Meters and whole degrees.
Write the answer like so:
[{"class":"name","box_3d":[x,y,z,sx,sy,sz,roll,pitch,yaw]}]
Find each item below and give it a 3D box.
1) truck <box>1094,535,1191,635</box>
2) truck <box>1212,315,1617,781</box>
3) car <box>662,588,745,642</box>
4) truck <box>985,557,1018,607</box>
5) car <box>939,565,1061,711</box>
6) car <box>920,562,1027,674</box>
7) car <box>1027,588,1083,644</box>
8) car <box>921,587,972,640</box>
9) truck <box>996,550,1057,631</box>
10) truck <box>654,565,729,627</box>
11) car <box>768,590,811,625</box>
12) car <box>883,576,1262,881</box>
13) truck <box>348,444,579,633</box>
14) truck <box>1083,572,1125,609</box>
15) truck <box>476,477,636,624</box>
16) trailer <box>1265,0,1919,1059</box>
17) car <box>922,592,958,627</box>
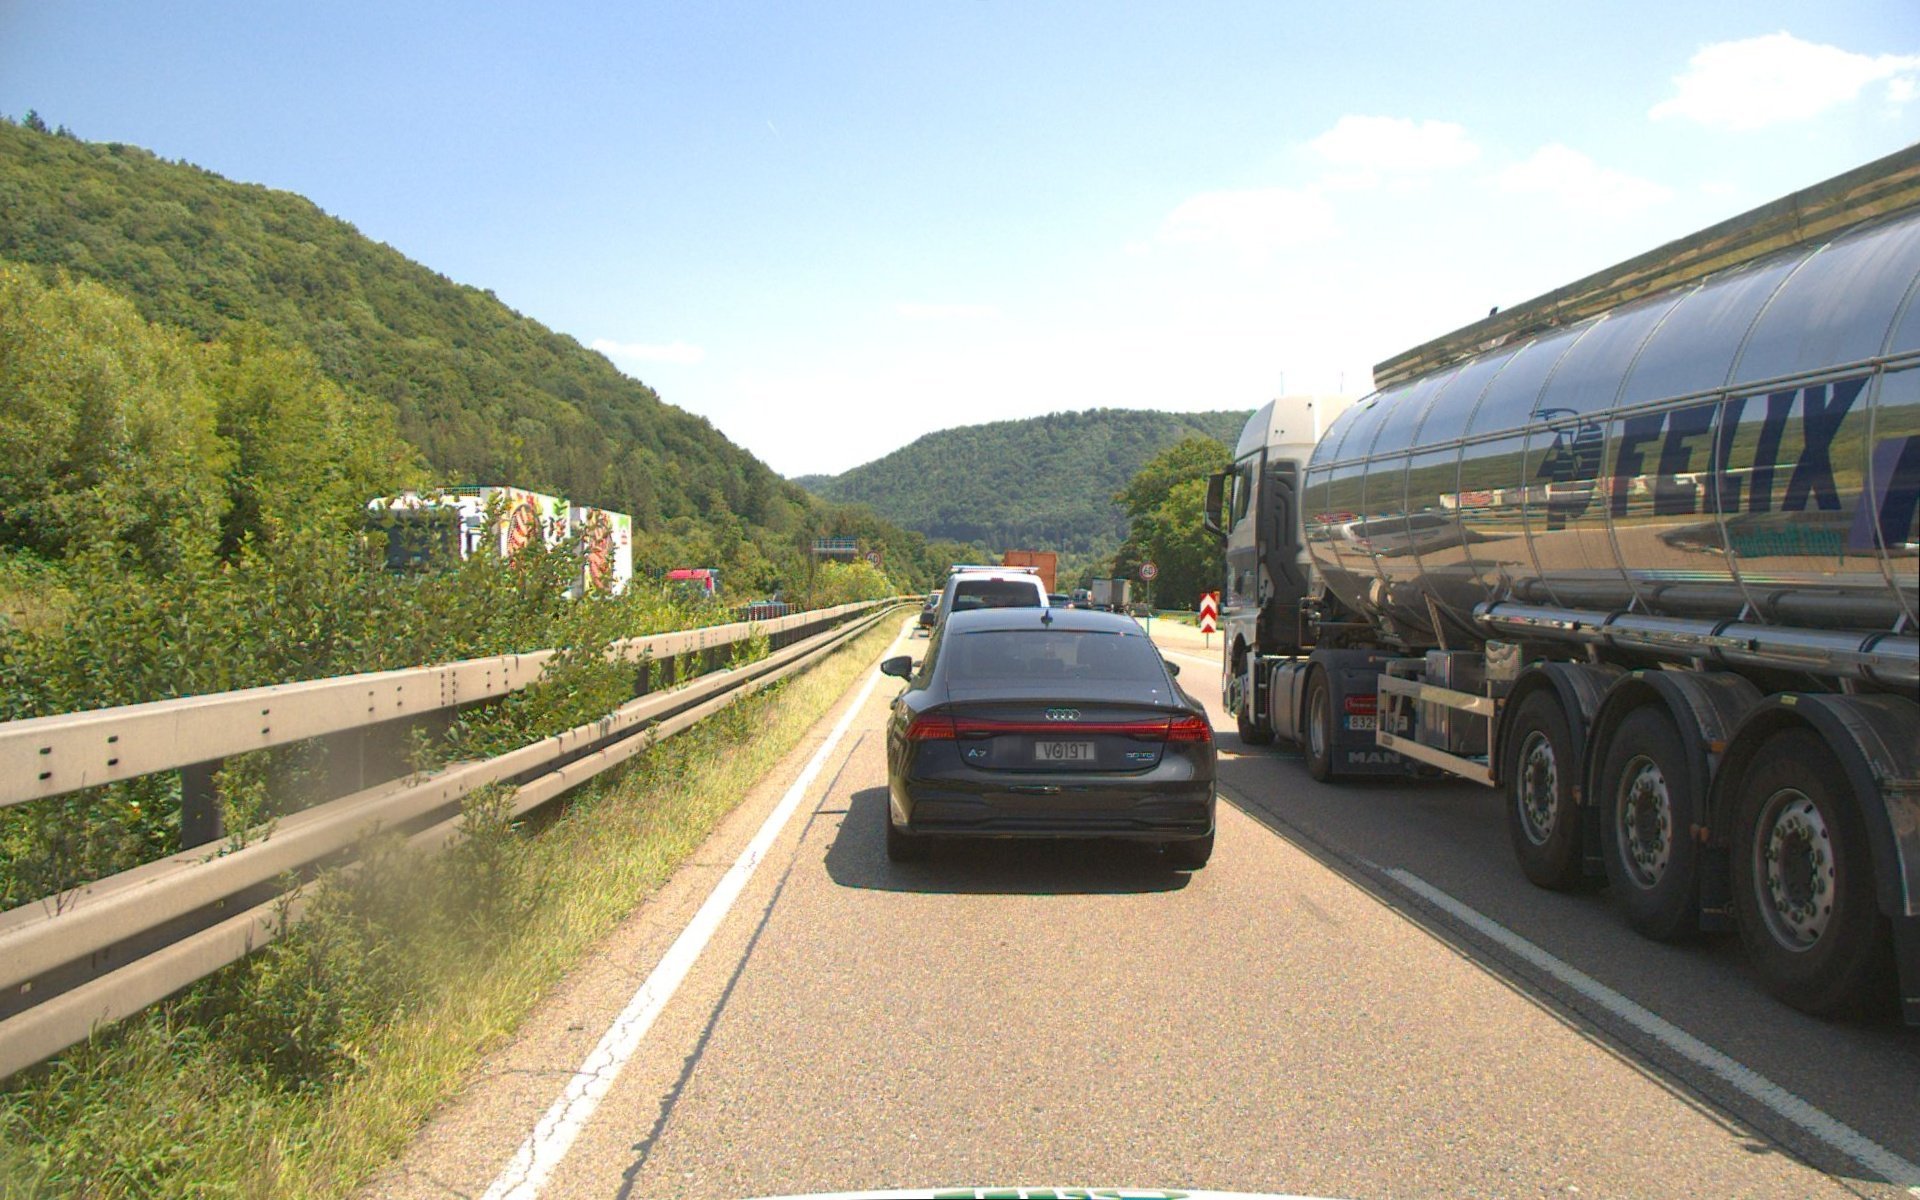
[{"class":"truck","box_3d":[8.188,-0.643,76.059,2.760,4.073,14.954,1,0,0]},{"class":"truck","box_3d":[4.171,-0.435,16.324,2.460,3.824,5.245,1,0,-1]},{"class":"car","box_3d":[-8.371,0.459,54.364,1.953,1.670,5.031,1,0,-1]},{"class":"truck","box_3d":[3.012,-1.289,121.576,1.953,3.507,11.809,1,0,-1]},{"class":"car","box_3d":[0.496,0.487,23.482,1.544,1.865,3.999,1,0,-1]},{"class":"car","box_3d":[0.219,0.332,32.564,1.953,2.049,3.999,1,0,-1]},{"class":"car","box_3d":[3.584,0.580,63.046,1.952,2.038,4.000,0,0,0]},{"class":"car","box_3d":[-0.554,0.502,65.765,1.953,2.049,3.999,0,0,-1]},{"class":"truck","box_3d":[3.543,-0.519,91.640,2.760,4.073,14.954,1,0,0]},{"class":"truck","box_3d":[-12.064,-0.182,74.942,2.249,2.633,7.965,1,0,-2]},{"class":"car","box_3d":[-8.027,0.333,78.095,1.741,1.627,3.998,0,0,-2]},{"class":"car","box_3d":[0.477,0.645,10.338,1.813,1.514,4.079,1,0,-4]},{"class":"truck","box_3d":[-11.937,-1.351,40.995,2.811,4.076,10.168,1,0,-1]},{"class":"truck","box_3d":[18.119,-1.195,206.974,3.712,4.491,14.968,0,0,11]},{"class":"truck","box_3d":[-12.146,-1.385,50.599,2.811,4.050,9.029,1,0,-1]},{"class":"trailer","box_3d":[4.284,-0.410,9.746,2.487,3.801,11.888,1,0,-1]},{"class":"car","box_3d":[-0.932,0.450,79.363,1.677,1.647,4.000,0,0,0]}]
